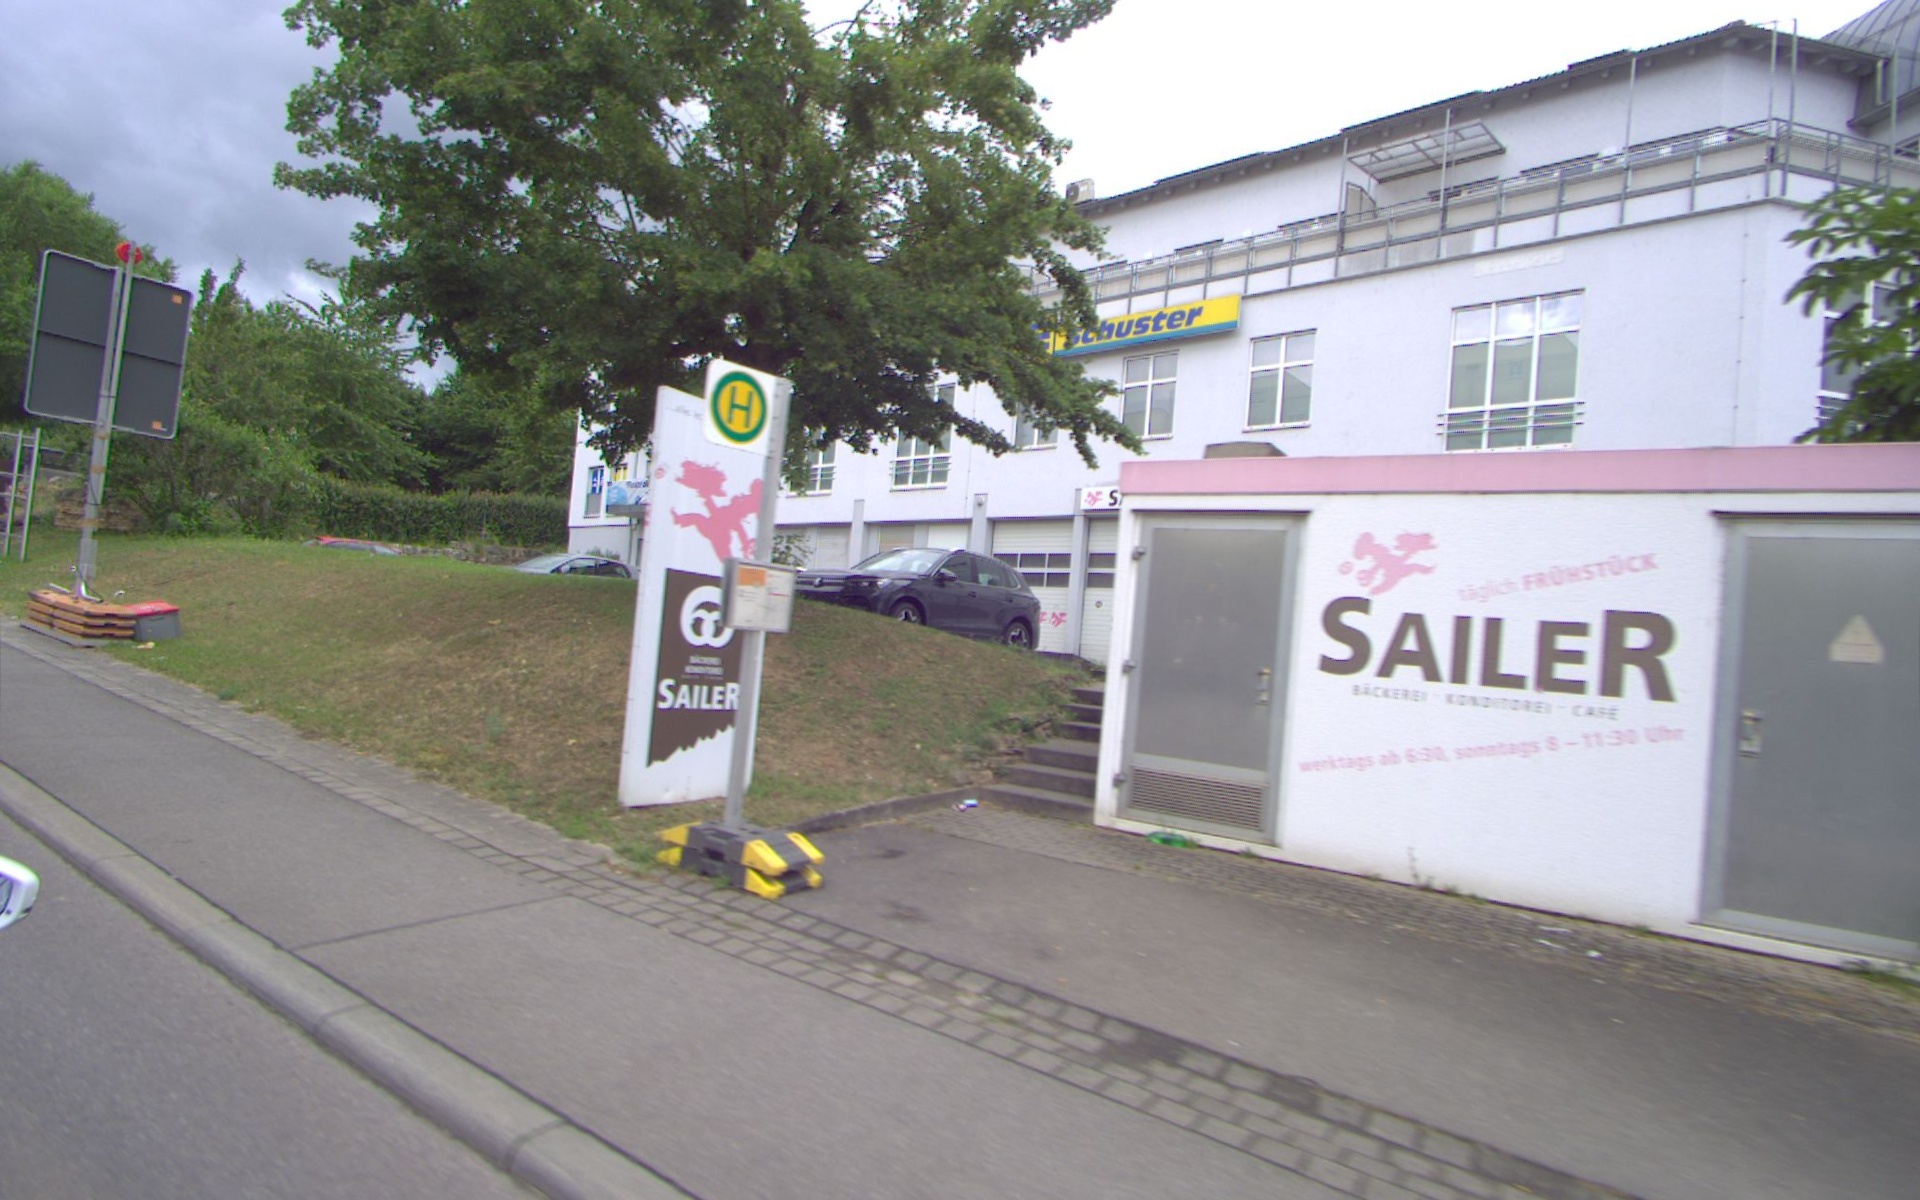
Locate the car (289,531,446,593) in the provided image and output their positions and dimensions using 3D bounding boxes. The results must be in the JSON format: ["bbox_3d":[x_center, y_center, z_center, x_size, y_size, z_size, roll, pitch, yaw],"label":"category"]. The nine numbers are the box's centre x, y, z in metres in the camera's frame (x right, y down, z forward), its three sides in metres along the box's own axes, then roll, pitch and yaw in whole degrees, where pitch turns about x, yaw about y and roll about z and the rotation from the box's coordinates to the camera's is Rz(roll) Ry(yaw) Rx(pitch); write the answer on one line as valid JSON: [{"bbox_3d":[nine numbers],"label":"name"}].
[{"bbox_3d":[-20.230,-1.273,34.488,1.736,1.466,4.235,6,-3,43],"label":"car"}]

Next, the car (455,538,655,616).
[{"bbox_3d":[-9.335,-0.490,23.431,1.808,1.369,3.872,4,-2,37],"label":"car"}]

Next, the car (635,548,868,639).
[{"bbox_3d":[-3.729,-0.079,18.501,1.843,1.247,3.871,4,-2,38],"label":"car"}]

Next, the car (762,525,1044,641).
[{"bbox_3d":[-0.693,-0.183,14.722,1.884,1.247,4.036,4,-2,38],"label":"car"}]
